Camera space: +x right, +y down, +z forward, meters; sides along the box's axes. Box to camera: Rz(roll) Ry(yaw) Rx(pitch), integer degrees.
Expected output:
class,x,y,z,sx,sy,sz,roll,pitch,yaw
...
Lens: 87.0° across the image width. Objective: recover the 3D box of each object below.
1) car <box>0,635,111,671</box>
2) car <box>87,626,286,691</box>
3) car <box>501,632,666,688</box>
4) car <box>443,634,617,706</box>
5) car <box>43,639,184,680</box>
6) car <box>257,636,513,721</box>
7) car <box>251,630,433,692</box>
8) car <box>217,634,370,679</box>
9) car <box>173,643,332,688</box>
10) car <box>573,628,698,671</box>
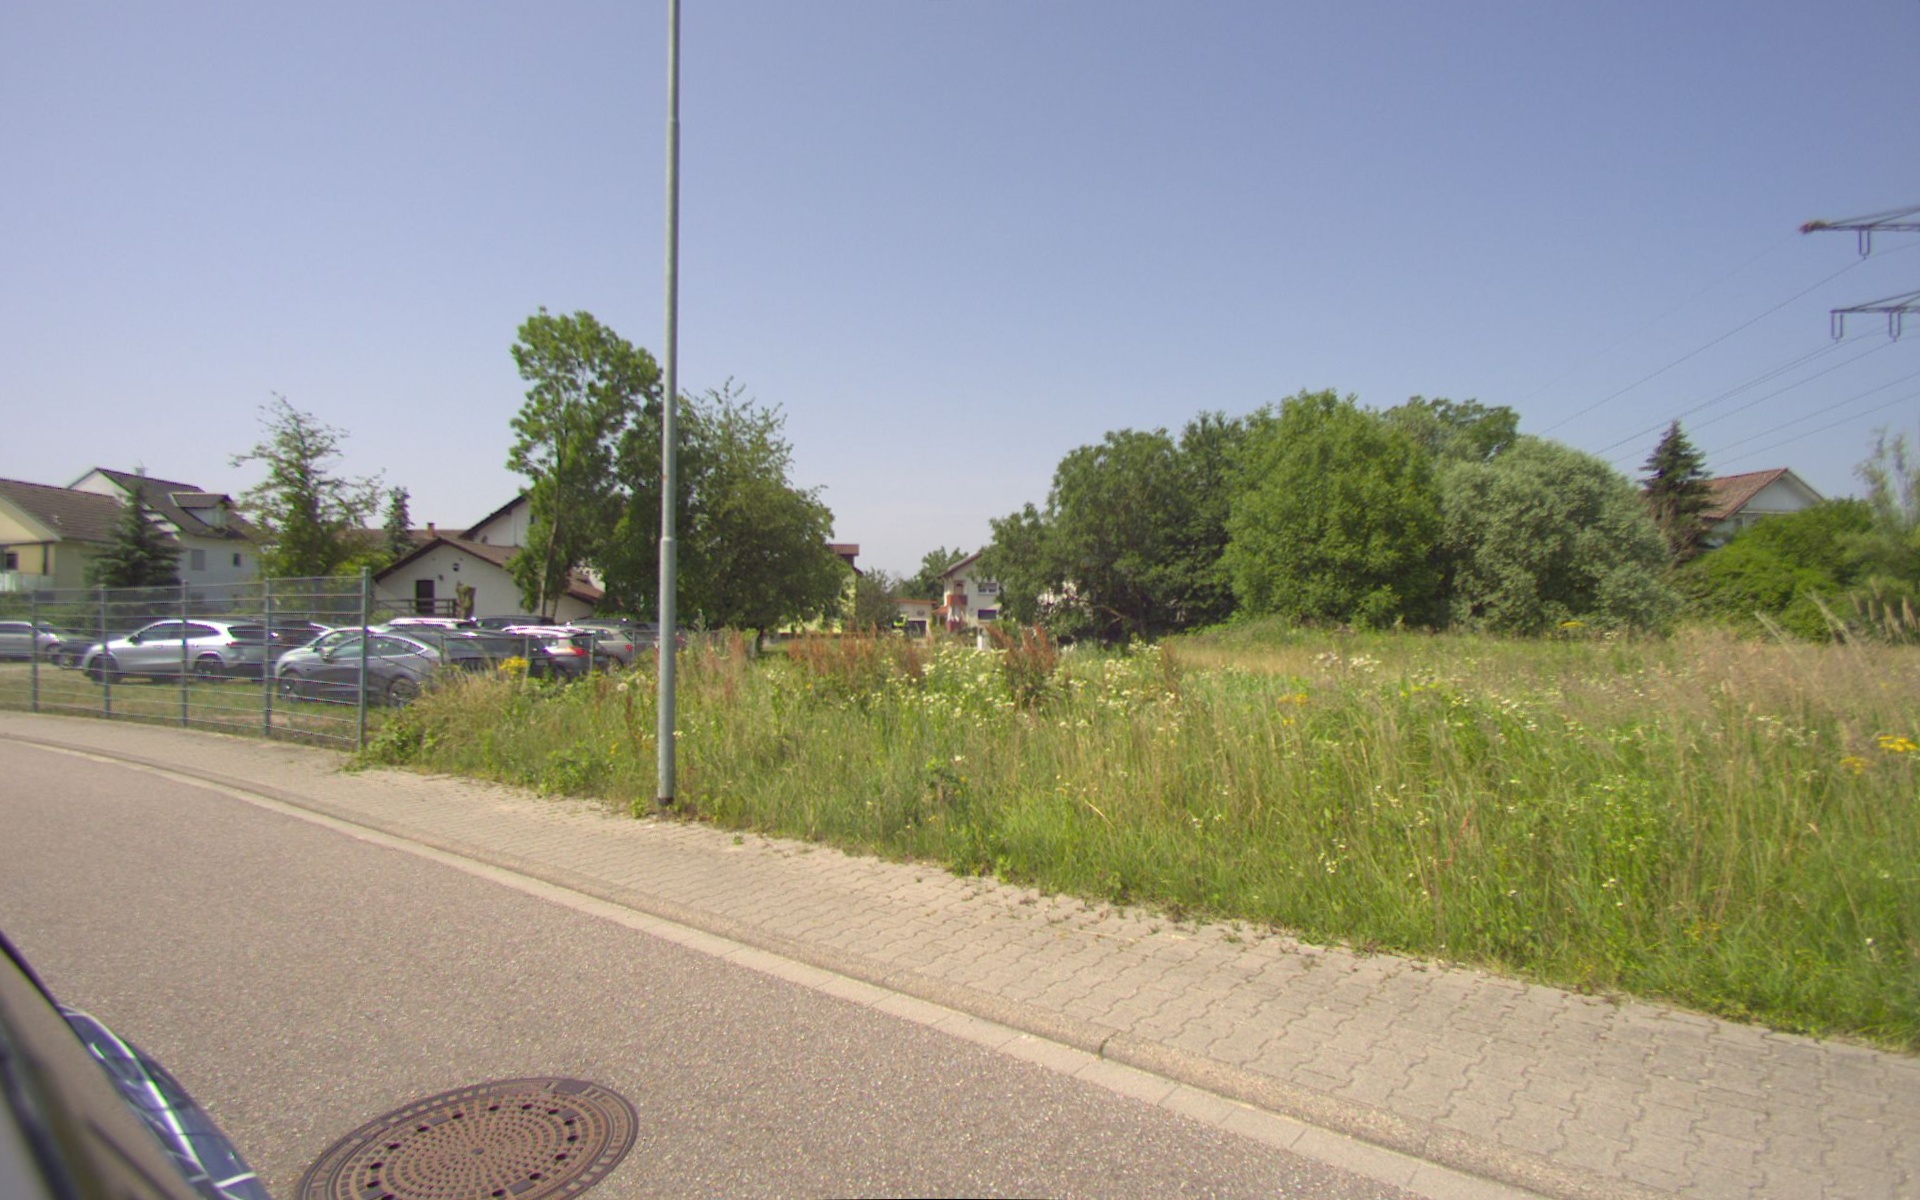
class,x,y,z,sx,sy,sz,roll,pitch,yaw
car,-39.046,2.258,43.252,3.942,1.510,1.862,0,-2,-1
car,-18.508,1.372,24.315,3.596,1.501,1.581,0,-2,1
car,-10.610,1.675,28.726,3.945,1.510,1.999,0,-2,1
car,-10.025,1.612,23.730,3.414,1.596,1.581,0,-2,1
car,-28.969,2.010,34.701,3.362,1.326,1.819,0,-1,1
car,-10.209,1.329,17.952,4.373,1.344,1.571,-1,-2,22
car,-14.798,1.433,24.349,3.414,1.430,1.581,0,-2,1
car,-22.657,1.905,34.517,3.945,1.510,1.999,0,-2,1
car,-20.777,1.919,29.800,3.596,1.256,1.581,0,-2,1
car,-11.819,1.789,37.043,3.945,1.510,1.999,0,-2,1
